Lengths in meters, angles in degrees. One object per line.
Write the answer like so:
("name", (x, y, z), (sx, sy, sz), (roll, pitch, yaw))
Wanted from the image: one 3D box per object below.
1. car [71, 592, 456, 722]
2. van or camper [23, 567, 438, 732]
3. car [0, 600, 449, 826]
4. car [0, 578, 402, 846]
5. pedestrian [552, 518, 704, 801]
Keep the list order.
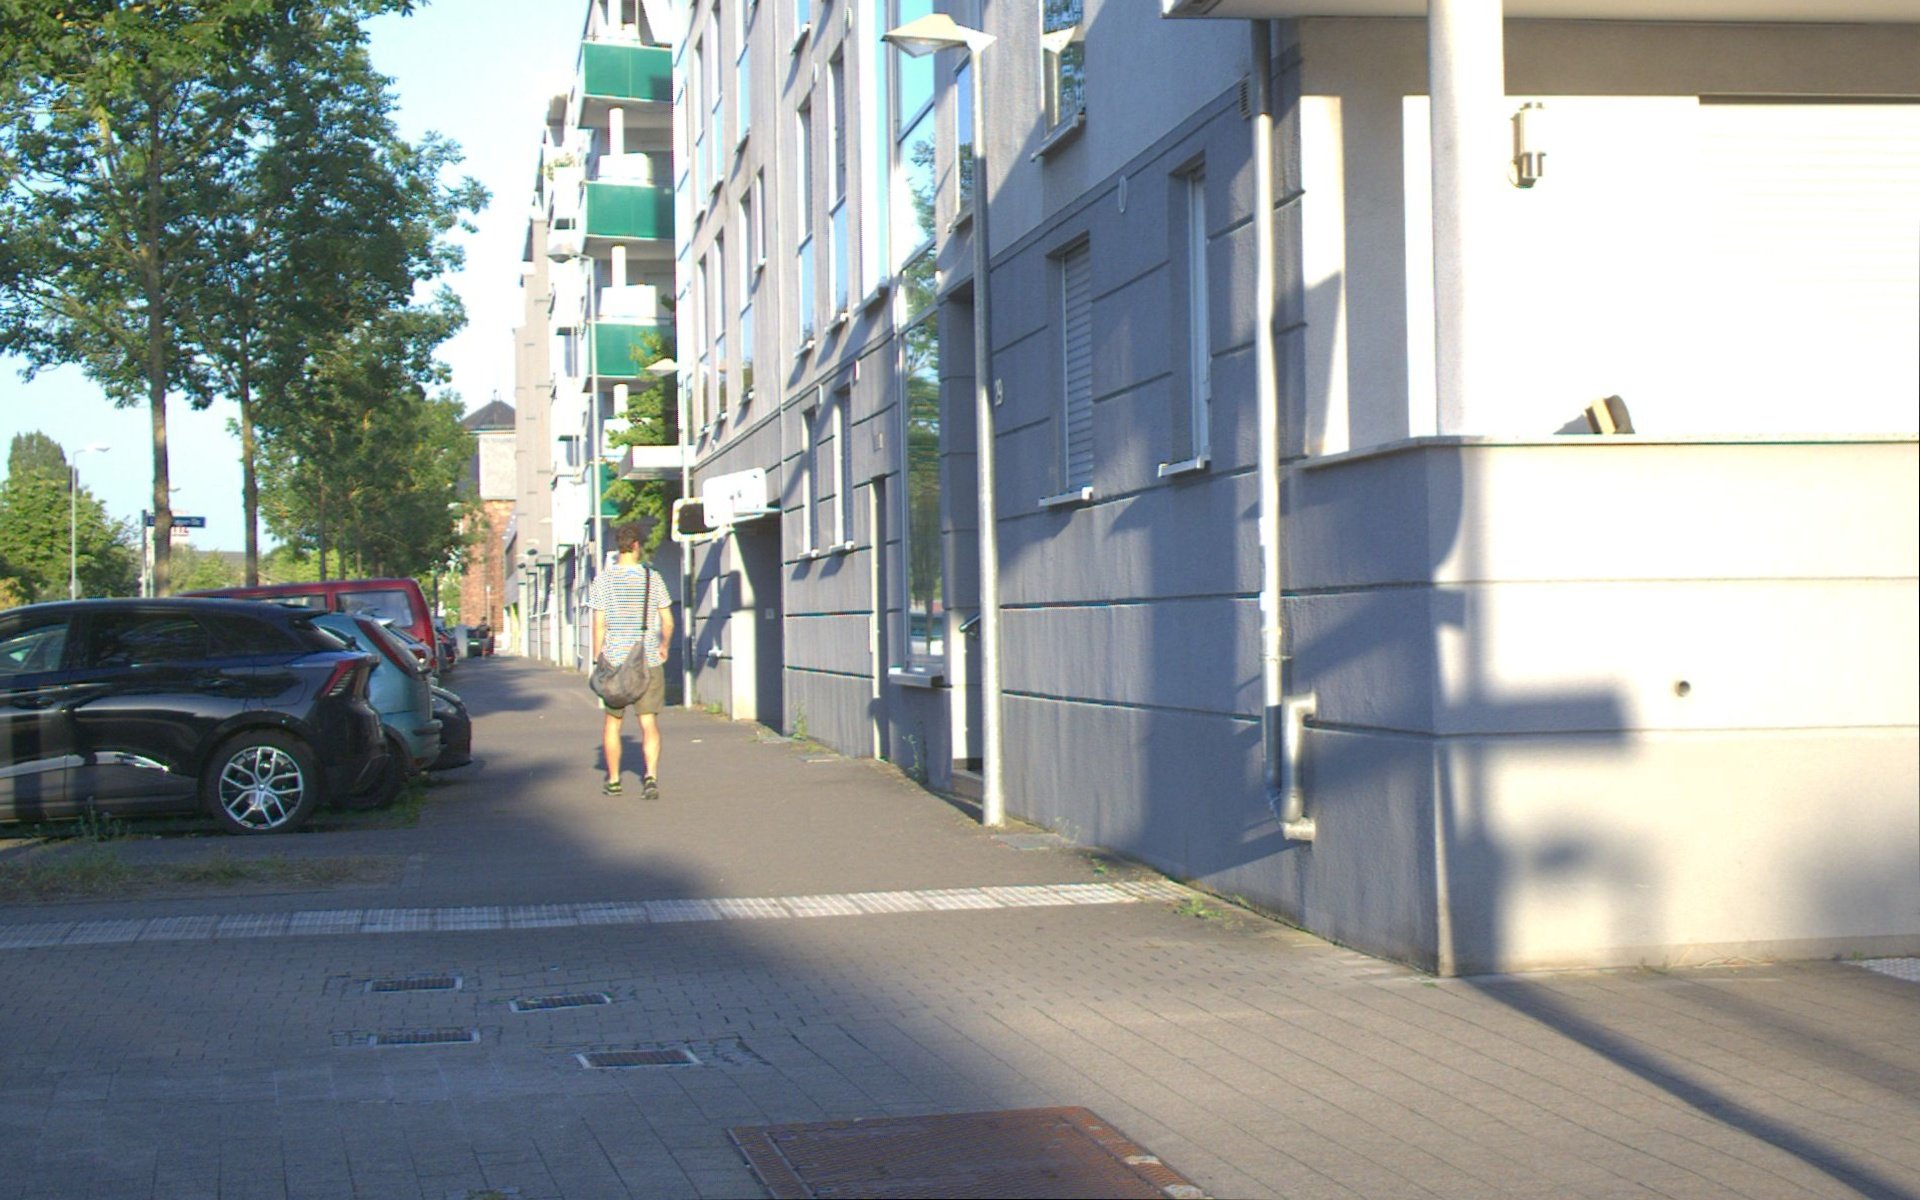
("car", (-8.346, 0.677, 41.420), (4.451, 1.516, 1.702), (0, -1, -10))
("van or camper", (-9.327, 0.618, 44.191), (5.113, 2.053, 1.878), (0, -1, -11))
("car", (-5.666, 0.787, 24.204), (3.992, 1.369, 1.560), (-3, 1, -10))
("car", (-5.777, 0.728, 21.374), (4.465, 1.482, 1.834), (-3, 0, -10))
("pedestrian", (-2.278, 0.400, 23.487), (0.976, 1.888, 1.050), (0, -1, -9))
